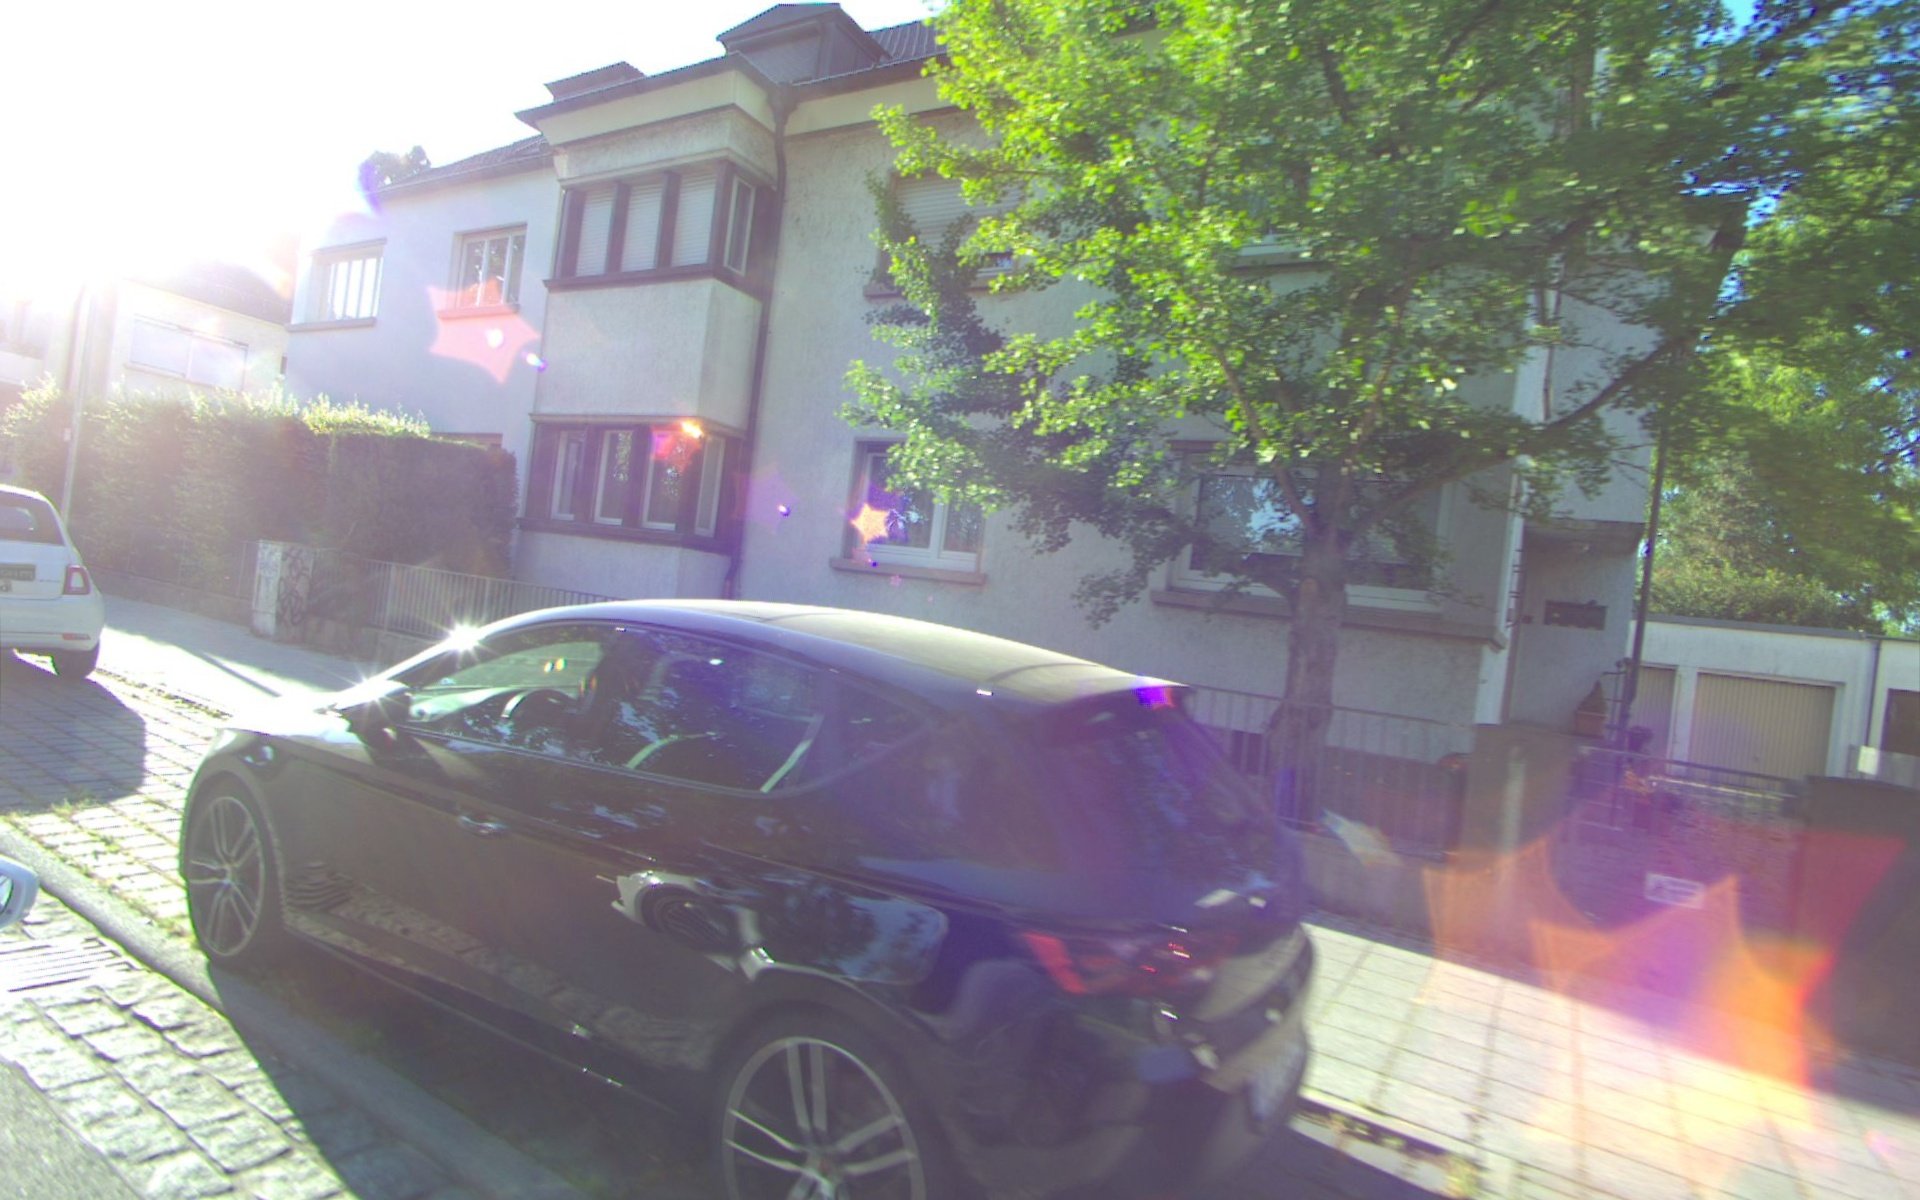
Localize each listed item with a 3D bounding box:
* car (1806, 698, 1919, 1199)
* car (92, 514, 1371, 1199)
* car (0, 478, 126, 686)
[{"bbox_3d":[3.482,1.128,1.100,3.658,1.512,1.658,6,0,36],"label":"car"},{"bbox_3d":[-0.986,0.651,3.457,4.127,1.467,1.739,6,0,31],"label":"car"},{"bbox_3d":[-8.653,-0.309,8.327,3.533,1.528,1.595,7,-1,33],"label":"car"}]
